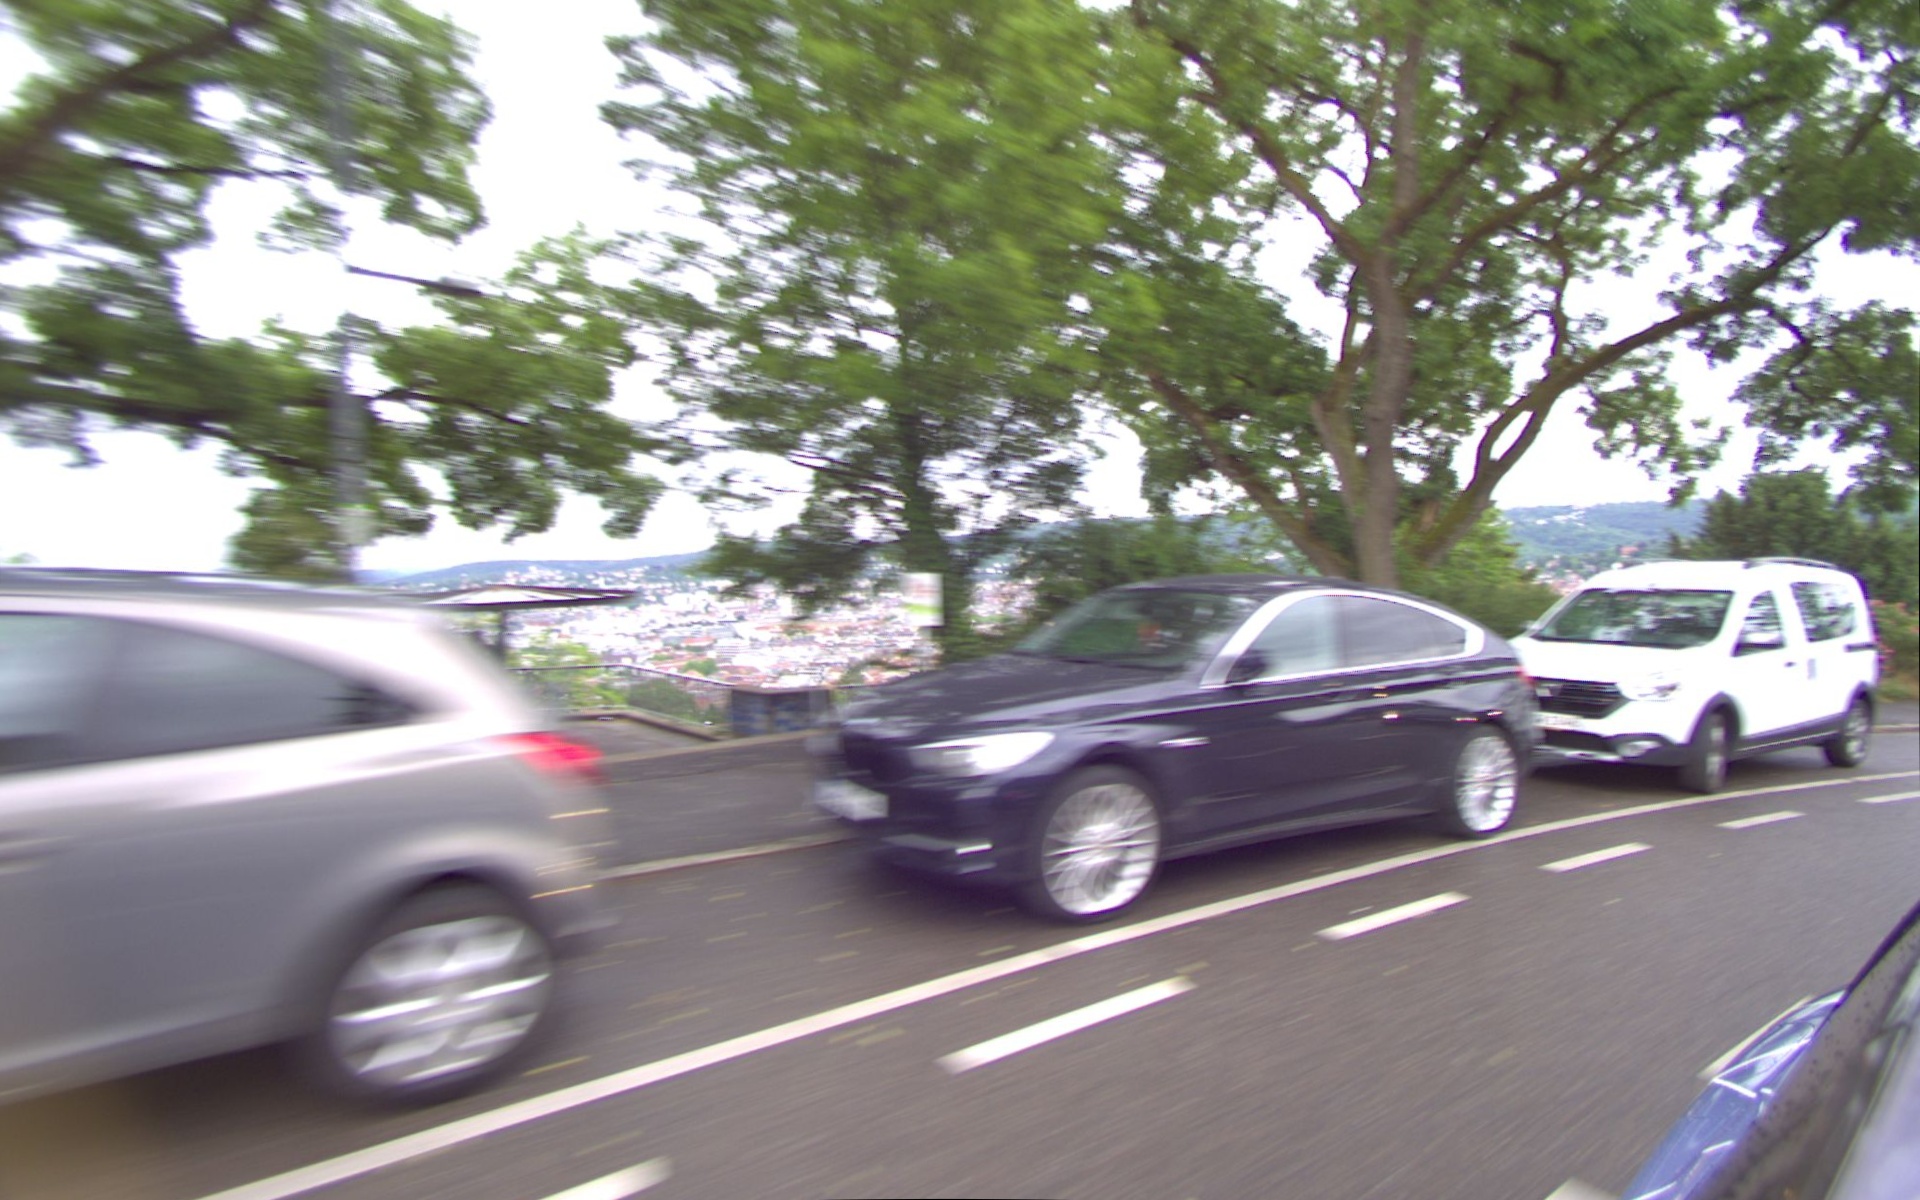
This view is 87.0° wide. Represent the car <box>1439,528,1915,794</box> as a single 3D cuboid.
[{"bbox_3d":[6.355,0.413,8.857,4.335,1.844,1.754,1,1,-31],"label":"car"}]

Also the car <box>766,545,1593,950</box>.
[{"bbox_3d":[1.480,0.566,5.961,4.798,1.562,1.868,0,1,-32],"label":"car"}]

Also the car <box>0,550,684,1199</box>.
[{"bbox_3d":[-2.993,0.628,2.592,4.061,1.522,1.738,0,1,-40],"label":"car"}]
